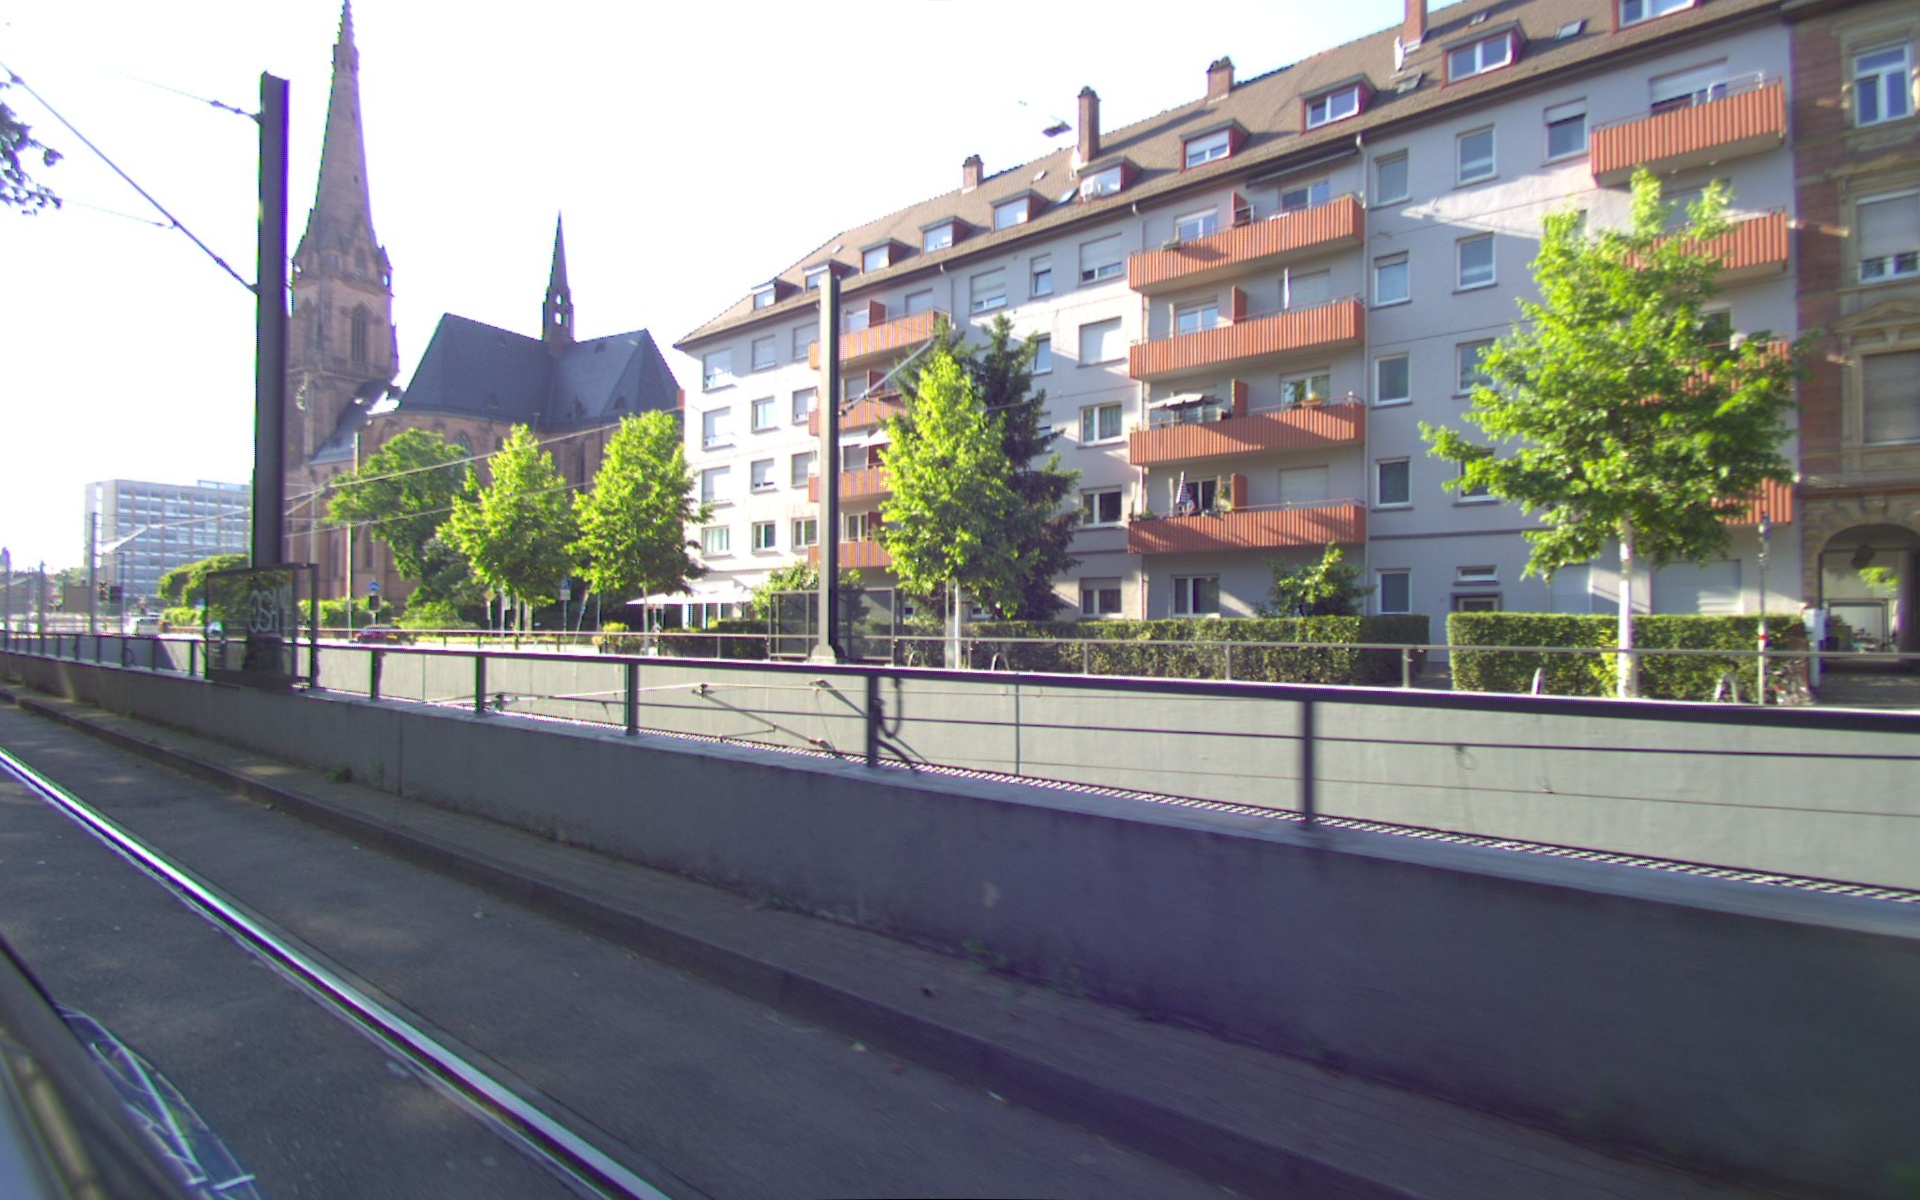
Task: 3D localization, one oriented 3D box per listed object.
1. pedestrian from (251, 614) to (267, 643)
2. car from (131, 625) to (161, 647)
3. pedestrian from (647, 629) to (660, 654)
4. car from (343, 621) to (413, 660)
[{"bbox_3d":[-41.902,1.723,60.493,0.751,1.686,0.490,-2,0,26],"label":"pedestrian"},{"bbox_3d":[-76.455,3.371,95.054,1.968,2.029,5.020,4,-3,-40],"label":"car"},{"bbox_3d":[-20.533,2.782,67.770,0.719,1.667,0.505,-2,0,39],"label":"pedestrian"},{"bbox_3d":[-25.257,1.719,43.842,1.946,1.515,4.416,-2,0,-39],"label":"car"}]
